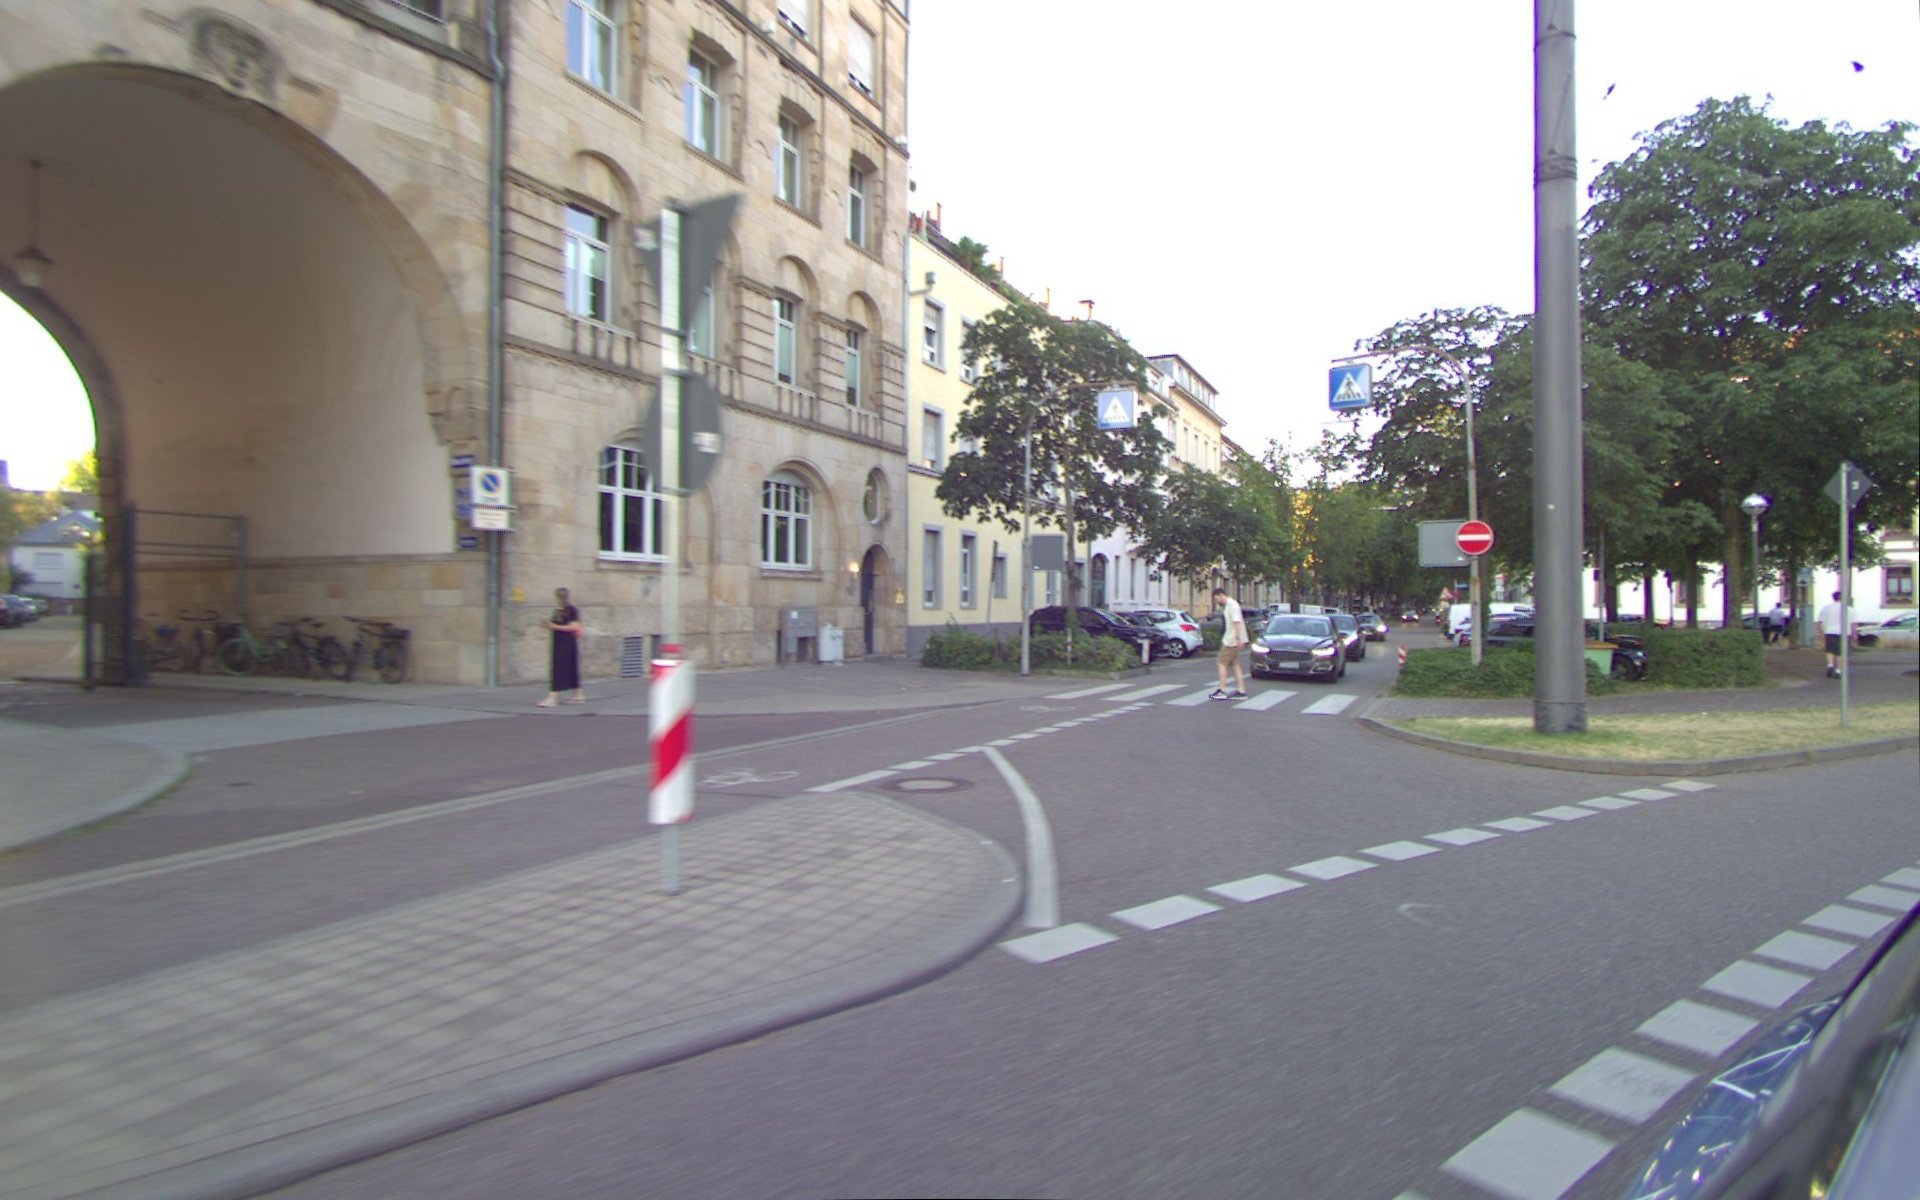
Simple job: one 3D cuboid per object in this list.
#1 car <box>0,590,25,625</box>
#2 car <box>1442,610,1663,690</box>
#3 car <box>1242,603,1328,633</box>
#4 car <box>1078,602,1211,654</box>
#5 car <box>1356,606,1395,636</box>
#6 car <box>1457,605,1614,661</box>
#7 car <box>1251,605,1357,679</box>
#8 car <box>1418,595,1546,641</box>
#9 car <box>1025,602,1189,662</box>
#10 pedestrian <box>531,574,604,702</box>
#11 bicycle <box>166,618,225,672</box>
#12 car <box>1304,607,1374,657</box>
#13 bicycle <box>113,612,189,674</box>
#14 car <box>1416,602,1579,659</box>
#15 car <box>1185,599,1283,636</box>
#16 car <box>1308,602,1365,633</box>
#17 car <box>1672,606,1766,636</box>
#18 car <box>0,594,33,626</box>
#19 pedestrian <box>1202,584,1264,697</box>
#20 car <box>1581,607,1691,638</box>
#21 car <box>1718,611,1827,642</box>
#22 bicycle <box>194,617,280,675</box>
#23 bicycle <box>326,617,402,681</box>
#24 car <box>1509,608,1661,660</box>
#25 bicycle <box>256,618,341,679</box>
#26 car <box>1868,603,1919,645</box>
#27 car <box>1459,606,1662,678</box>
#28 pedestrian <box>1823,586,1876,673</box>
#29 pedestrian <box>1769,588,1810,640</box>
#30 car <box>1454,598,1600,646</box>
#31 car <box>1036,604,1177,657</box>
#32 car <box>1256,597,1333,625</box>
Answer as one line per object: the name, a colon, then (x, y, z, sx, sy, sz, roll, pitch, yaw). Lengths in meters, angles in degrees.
car: (-51.737, 0.377, 54.312, 1.800, 1.788, 3.998, 2, -1, -36)
car: (13.316, 1.057, 22.867, 4.053, 1.576, 1.837, 1, -1, 42)
car: (17.857, 0.986, 55.658, 4.053, 1.571, 1.969, 1, -1, 42)
car: (6.159, 0.904, 33.900, 4.033, 1.590, 1.818, 1, -1, 30)
car: (21.844, 1.092, 53.087, 1.801, 1.501, 4.101, 1, -1, 24)
car: (18.356, 1.017, 32.373, 4.053, 1.638, 1.969, 1, -1, 42)
car: (7.936, 0.903, 23.150, 1.803, 1.501, 4.097, 1, -1, 26)
car: (24.707, 0.817, 48.059, 1.932, 2.048, 5.076, 2, -1, -40)
car: (4.256, 0.903, 29.434, 4.359, 1.578, 1.819, 1, -1, 29)
pedestrian: (-5.489, 0.516, 14.164, 0.572, 1.731, 0.713, 0, -1, 30)
bicycle: (-14.583, 0.844, 19.297, 1.242, 0.983, 0.371, 1, -1, 27)
car: (12.664, 1.033, 33.692, 1.803, 1.501, 4.097, 1, -1, 26)
bicycle: (-15.952, 0.835, 19.949, 1.598, 1.143, 0.530, 1, -1, 26)
car: (16.350, 0.899, 30.859, 4.053, 1.571, 1.969, 1, -1, 42)
car: (12.514, 0.796, 46.214, 4.028, 1.571, 1.981, 1, -1, 27)
car: (29.165, 1.329, 78.383, 4.028, 2.323, 1.981, 1, -1, 27)
car: (39.579, 1.098, 52.828, 1.671, 1.468, 3.670, 2, -1, -41)
car: (-55.627, 0.568, 59.064, 1.800, 1.788, 3.998, 2, -1, -36)
pedestrian: (4.534, 0.660, 16.805, 0.805, 1.815, 0.593, 2, -1, -31)
car: (34.161, 1.118, 51.252, 1.698, 1.437, 4.386, 2, -1, -43)
car: (37.833, 1.208, 47.152, 1.698, 1.353, 3.775, 2, -1, -43)
bicycle: (-13.189, 0.828, 18.462, 1.556, 0.983, 0.604, 1, -1, 26)
bicycle: (-9.910, 0.806, 16.818, 1.427, 0.999, 0.357, 1, -1, 27)
car: (20.908, 1.102, 33.917, 4.053, 1.571, 1.969, 1, -1, 42)
bicycle: (-11.606, 0.828, 17.739, 1.716, 0.999, 0.410, 1, -1, 27)
car: (41.417, 1.047, 43.090, 1.672, 1.746, 4.005, 2, -1, -43)
car: (14.795, 0.979, 25.046, 4.053, 1.576, 1.837, 1, -1, 42)
pedestrian: (18.410, 0.599, 20.950, 0.772, 1.738, 0.767, 2, -2, -43)
pedestrian: (33.091, 0.549, 40.386, 0.988, 2.039, 0.831, 1, -1, -12)
car: (24.275, 0.909, 43.466, 2.083, 1.927, 5.076, 2, -1, -40)
car: (4.626, 0.934, 31.997, 4.031, 1.504, 1.819, 1, -1, 29)
car: (20.710, 0.675, 62.623, 4.355, 1.633, 1.713, 1, -1, 26)
